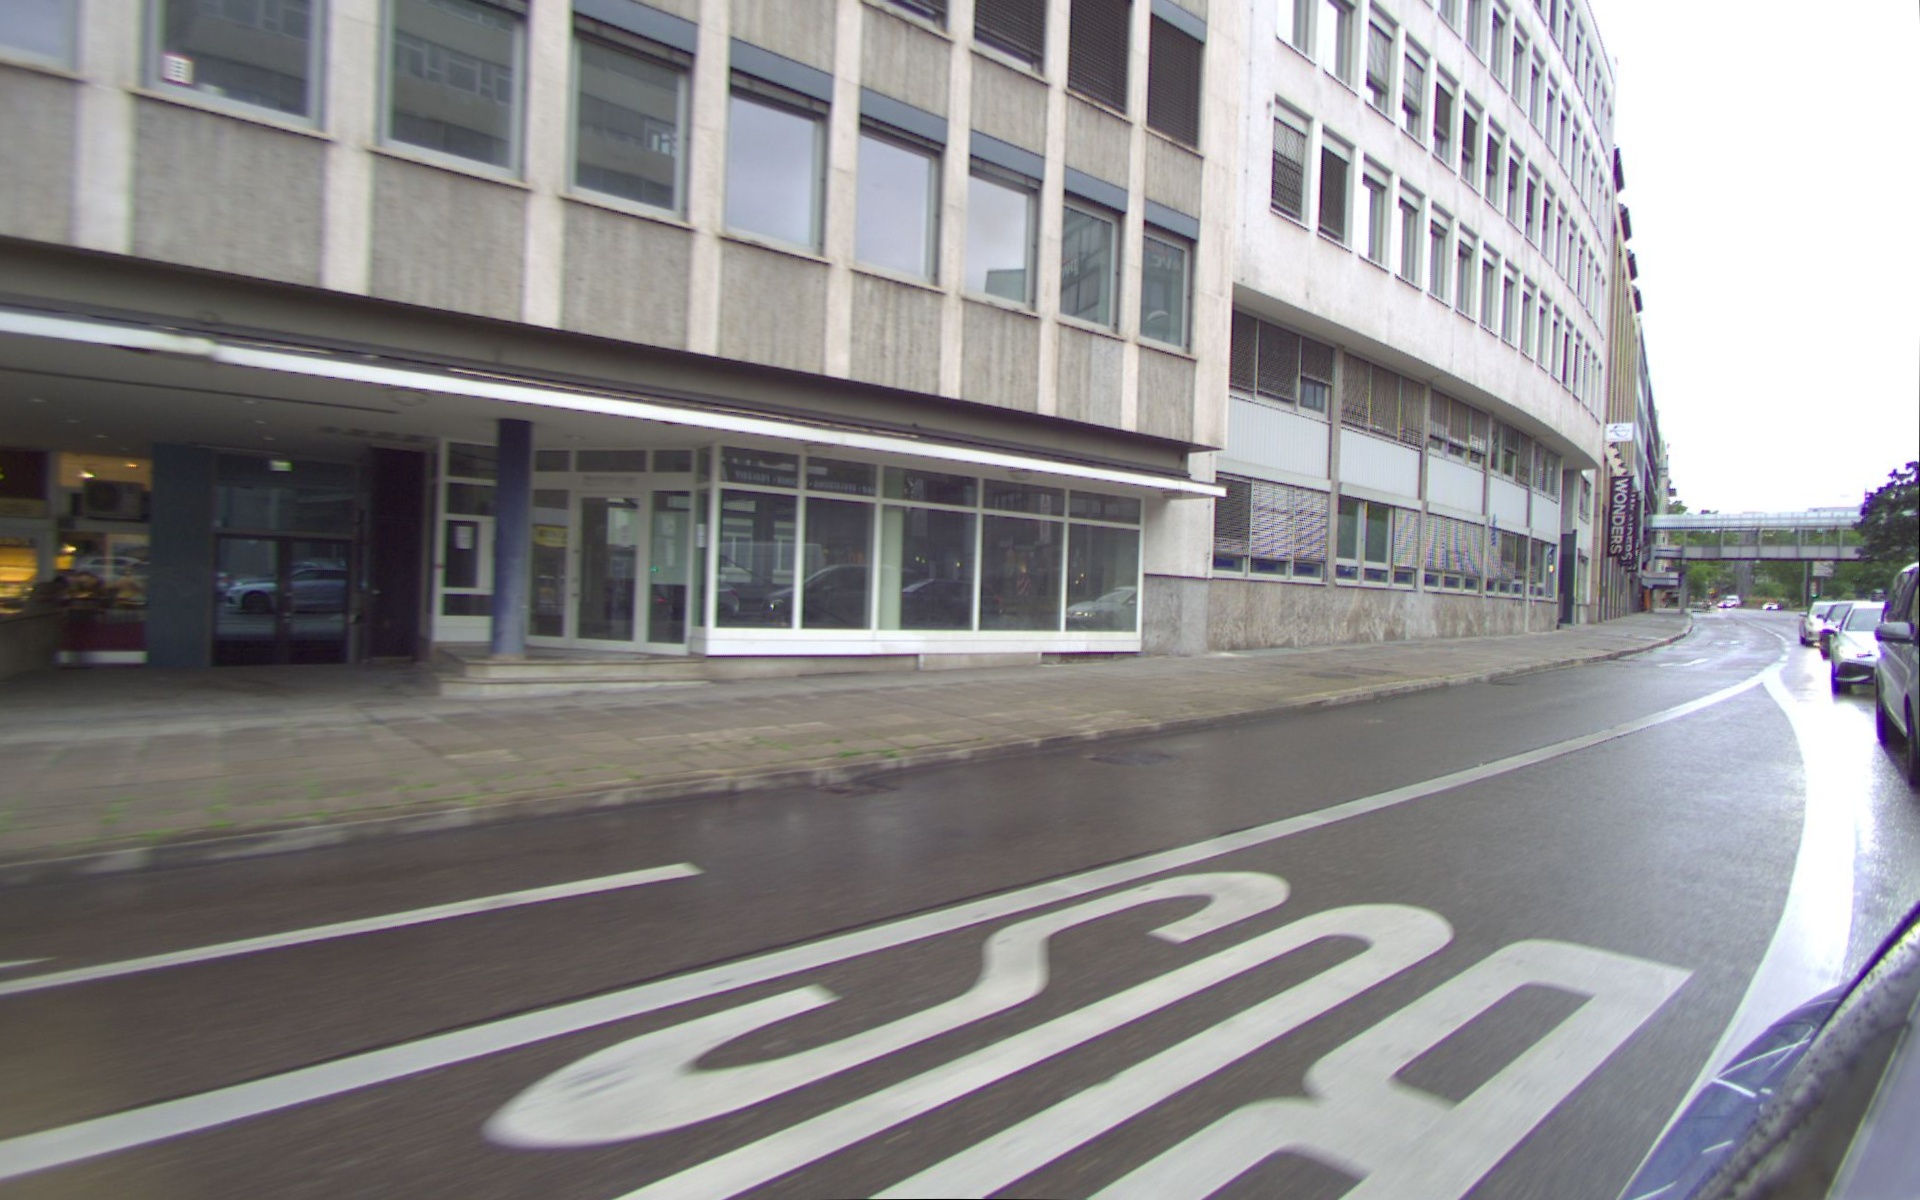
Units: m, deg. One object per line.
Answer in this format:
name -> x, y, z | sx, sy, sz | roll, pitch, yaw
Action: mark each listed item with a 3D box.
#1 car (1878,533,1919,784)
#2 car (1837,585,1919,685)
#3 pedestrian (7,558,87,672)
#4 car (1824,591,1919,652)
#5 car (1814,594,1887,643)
car -> 9.428, 0.437, 8.795 | 1.909, 1.879, 4.954 | 0, 0, 40
car -> 15.783, 0.545, 16.693 | 1.923, 1.498, 3.941 | 1, 1, 41
pedestrian -> -15.014, 0.234, 16.652 | 0.791, 1.827, 0.705 | 0, 0, 23
car -> 25.068, 0.522, 27.667 | 1.993, 1.483, 4.336 | 0, 1, 43
car -> 29.379, 0.574, 33.467 | 1.716, 1.483, 3.978 | 0, 1, 40
